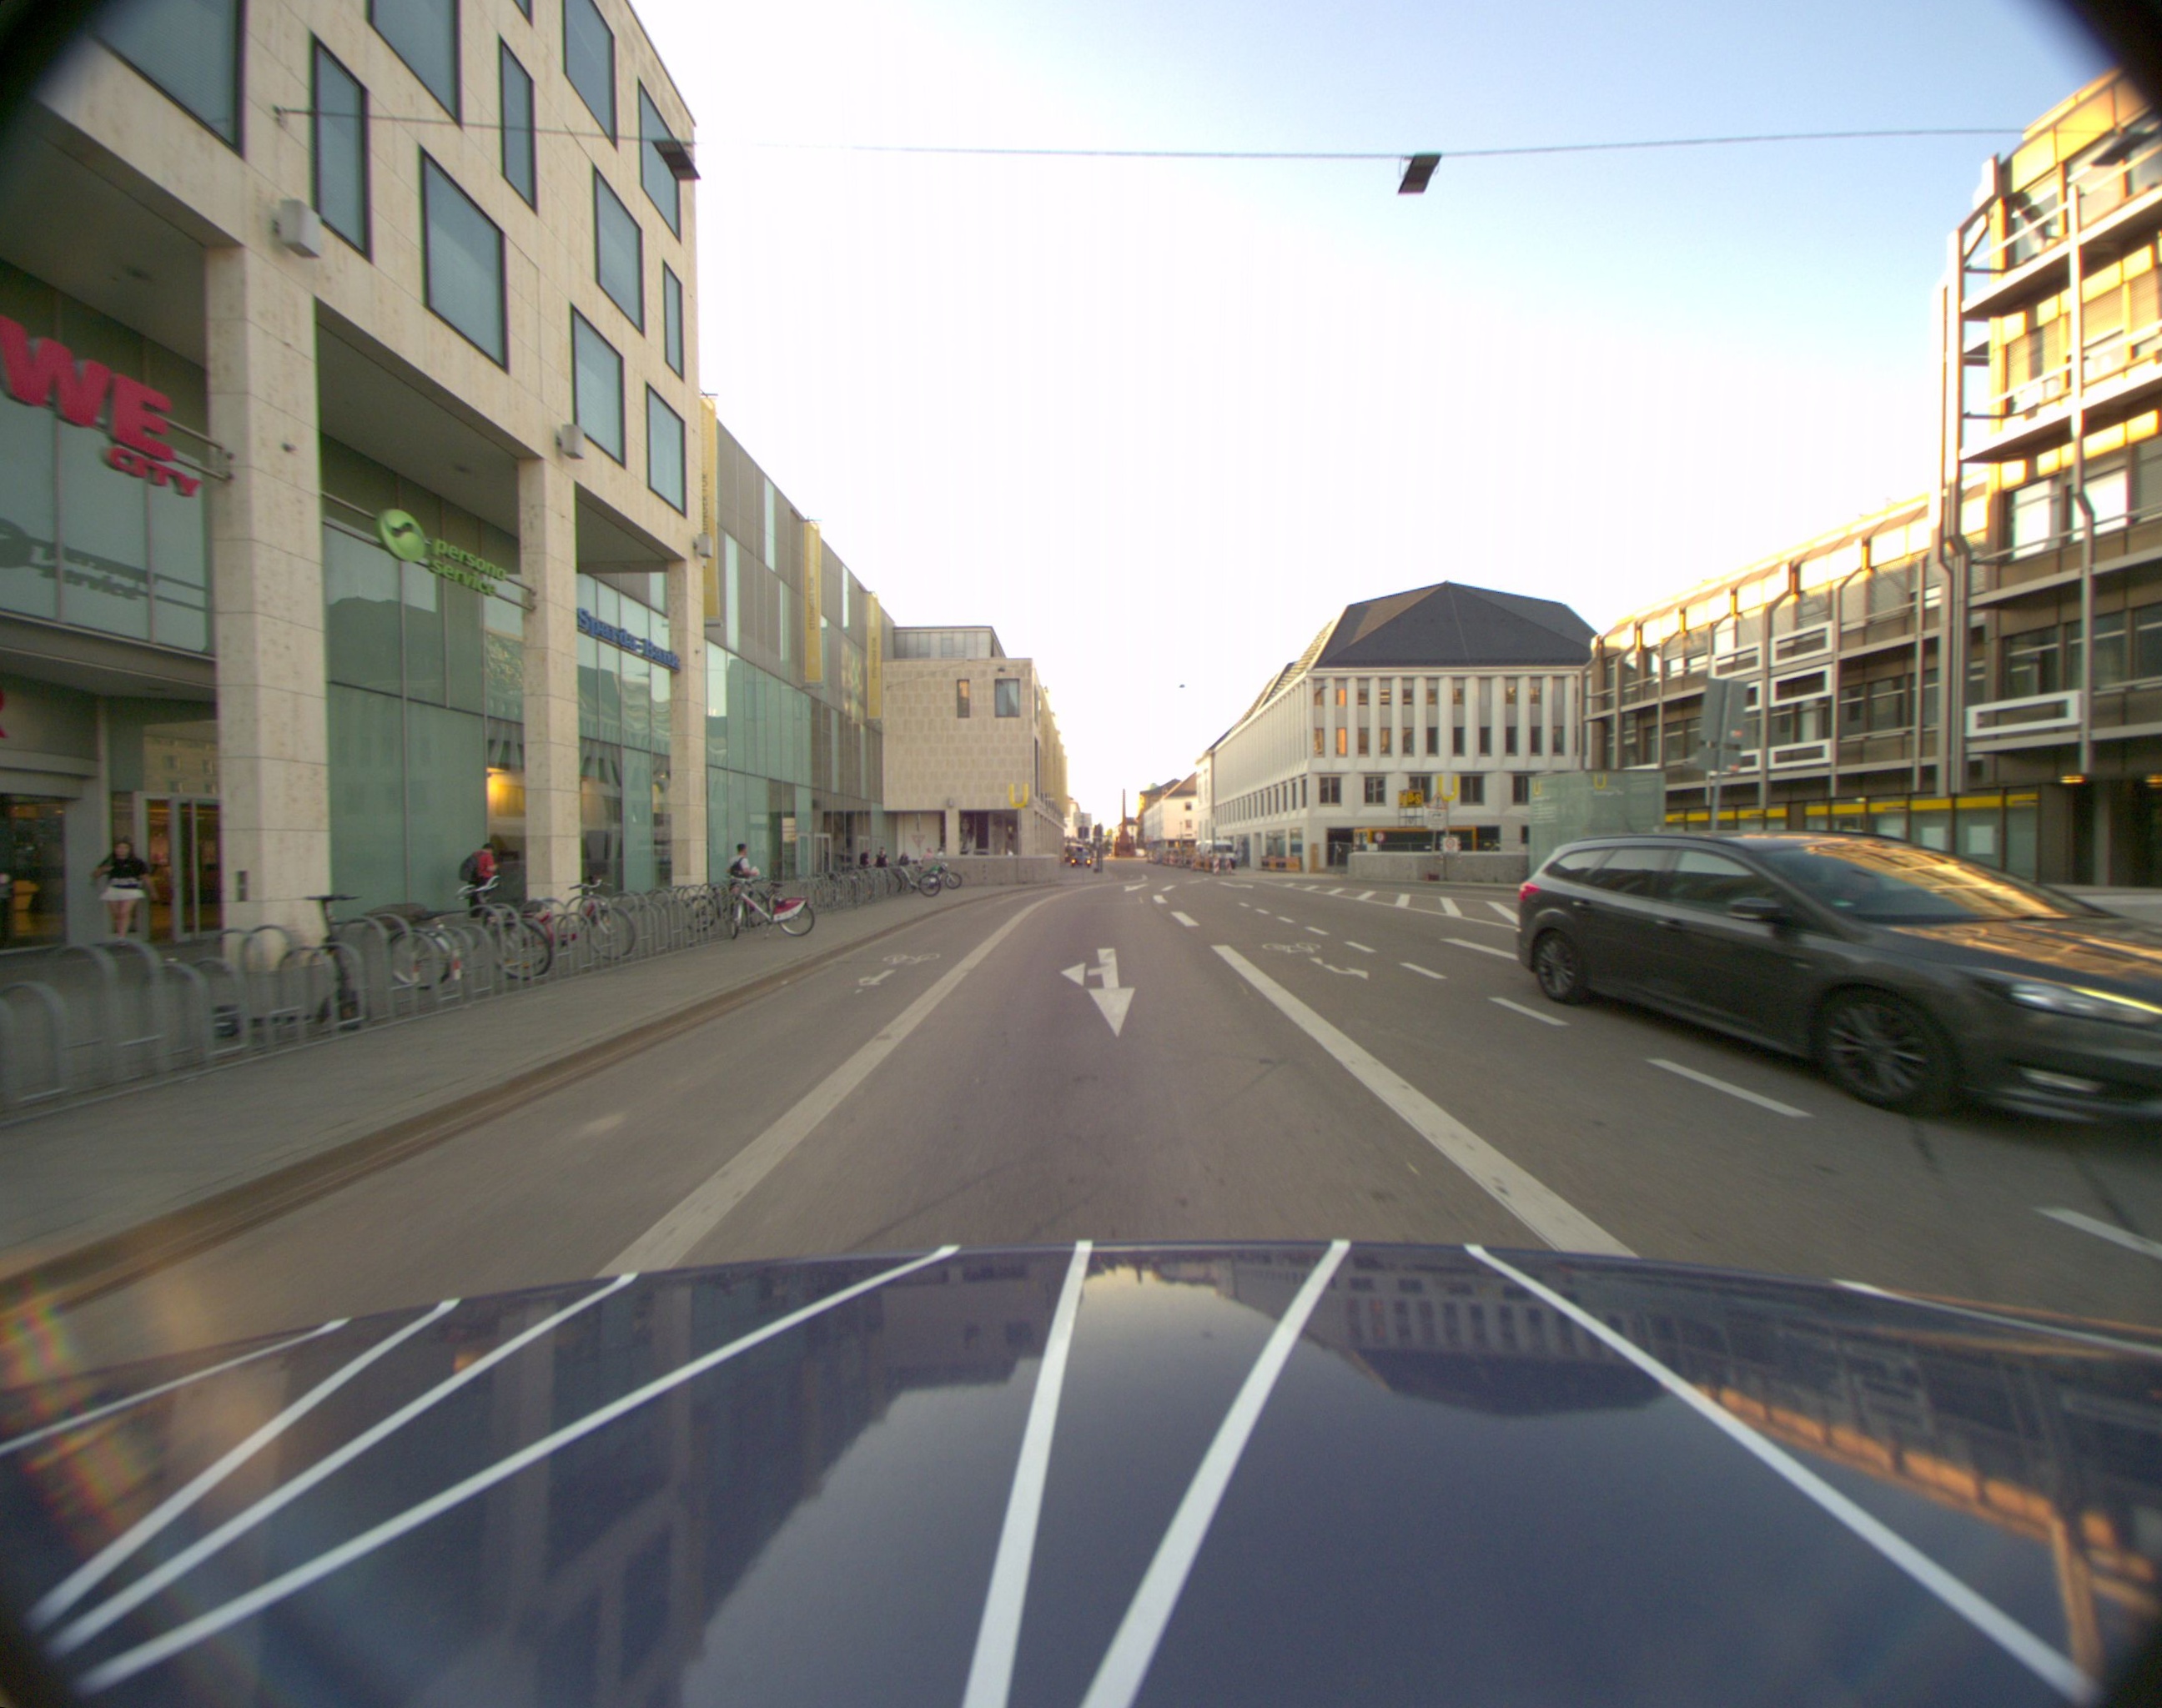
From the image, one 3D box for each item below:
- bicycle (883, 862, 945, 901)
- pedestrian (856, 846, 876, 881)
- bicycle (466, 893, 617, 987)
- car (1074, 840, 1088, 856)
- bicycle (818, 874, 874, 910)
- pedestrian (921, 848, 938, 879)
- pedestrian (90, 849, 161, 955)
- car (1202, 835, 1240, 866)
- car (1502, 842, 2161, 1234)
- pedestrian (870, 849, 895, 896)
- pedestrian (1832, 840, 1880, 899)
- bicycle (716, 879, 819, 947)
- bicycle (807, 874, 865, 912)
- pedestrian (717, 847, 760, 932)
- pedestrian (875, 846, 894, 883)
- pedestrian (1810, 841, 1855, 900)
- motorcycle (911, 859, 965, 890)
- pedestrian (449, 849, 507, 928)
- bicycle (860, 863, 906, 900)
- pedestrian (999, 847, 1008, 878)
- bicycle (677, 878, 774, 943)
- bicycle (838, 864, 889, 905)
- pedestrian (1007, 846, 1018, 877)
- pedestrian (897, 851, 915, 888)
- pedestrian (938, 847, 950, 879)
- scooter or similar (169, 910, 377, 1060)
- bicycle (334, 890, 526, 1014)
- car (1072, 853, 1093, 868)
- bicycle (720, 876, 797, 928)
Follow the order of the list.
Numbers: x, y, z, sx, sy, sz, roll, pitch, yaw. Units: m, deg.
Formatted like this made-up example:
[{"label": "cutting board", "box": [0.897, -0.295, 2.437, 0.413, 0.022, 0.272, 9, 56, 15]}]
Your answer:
[{"label": "bicycle", "box": [-5.344, 0.873, 24.376, 1.838, 1.140, 0.466, -3, 1, 1]}, {"label": "pedestrian", "box": [-9.986, 0.434, 35.317, 0.740, 1.638, 0.820, -1, 1, -6]}, {"label": "bicycle", "box": [-7.090, 1.116, 10.035, 1.519, 1.099, 0.552, -3, 1, -2]}, {"label": "car", "box": [0.004, -0.862, 106.203, 1.798, 2.199, 3.671, 0, 1, 2]}, {"label": "bicycle", "box": [-6.552, 1.053, 21.209, 1.345, 0.927, 0.518, -3, 1, -1]}, {"label": "pedestrian", "box": [-8.390, 0.513, 42.111, 0.793, 1.734, 0.656, 0, 1, 3]}, {"label": "pedestrian", "box": [-15.398, 0.737, 12.264, 0.706, 1.642, 0.631, 0, 1, 43]}, {"label": "car", "box": [11.969, -0.341, 65.371, 2.141, 2.541, 6.050, -1, 1, 1]}, {"label": "car", "box": [4.941, 0.686, 5.112, 1.762, 1.454, 4.379, -2, 1, 0]}, {"label": "pedestrian", "box": [-7.058, 0.645, 26.995, 0.809, 1.633, 0.646, -1, 1, -18]}, {"label": "pedestrian", "box": [21.761, 0.425, 21.357, 0.616, 1.630, 0.702, -1, 1, 1]}, {"label": "bicycle", "box": [-5.354, 1.002, 13.010, 1.518, 1.057, 0.466, -3, 1, 1]}, {"label": "bicycle", "box": [-6.610, 1.054, 20.563, 1.345, 0.927, 0.518, -3, 1, -1]}, {"label": "pedestrian", "box": [-7.014, 0.707, 15.580, 0.708, 1.682, 0.628, -1, 1, -19]}, {"label": "pedestrian", "box": [-9.149, 0.486, 35.379, 0.698, 1.686, 0.820, -1, 1, -2]}, {"label": "pedestrian", "box": [21.121, 0.454, 21.359, 0.670, 1.630, 0.584, -1, 1, 1]}, {"label": "motorcycle", "box": [-5.665, 0.809, 30.140, 2.007, 1.217, 0.480, -1, 1, -2]}, {"label": "pedestrian", "box": [-12.899, 0.717, 16.271, 0.629, 1.642, 0.708, 0, 1, 2]}, {"label": "bicycle", "box": [-6.558, 0.905, 25.220, 1.345, 1.157, 0.518, -3, 1, -1]}, {"label": "pedestrian", "box": [-4.355, 0.471, 42.777, 0.454, 1.734, 0.492, 0, 1, 3]}, {"label": "bicycle", "box": [-6.754, 1.059, 14.452, 1.518, 1.117, 0.580, -3, 1, 4]}, {"label": "bicycle", "box": [-6.614, 0.909, 23.135, 1.345, 1.157, 0.518, -3, 1, -1]}, {"label": "pedestrian", "box": [-3.916, 0.432, 43.545, 0.516, 1.734, 0.492, 0, 1, 3]}, {"label": "pedestrian", "box": [-8.569, 0.751, 37.167, 0.619, 1.770, 0.812, 0, 1, 3]}, {"label": "pedestrian", "box": [-7.676, 0.503, 42.524, 0.494, 1.734, 0.656, 0, 1, 3]}, {"label": "scooter or similar", "box": [-6.936, 1.105, 6.560, 1.197, 1.192, 0.492, 0, 1, -4]}, {"label": "bicycle", "box": [-7.166, 1.059, 8.417, 1.518, 1.220, 0.618, -3, 1, 0]}, {"label": "car", "box": [0.157, 0.576, 73.511, 1.798, 1.365, 3.671, 0, 0, 2]}, {"label": "bicycle", "box": [-7.258, 1.075, 17.133, 1.447, 1.058, 0.580, -3, 1, -10]}]
